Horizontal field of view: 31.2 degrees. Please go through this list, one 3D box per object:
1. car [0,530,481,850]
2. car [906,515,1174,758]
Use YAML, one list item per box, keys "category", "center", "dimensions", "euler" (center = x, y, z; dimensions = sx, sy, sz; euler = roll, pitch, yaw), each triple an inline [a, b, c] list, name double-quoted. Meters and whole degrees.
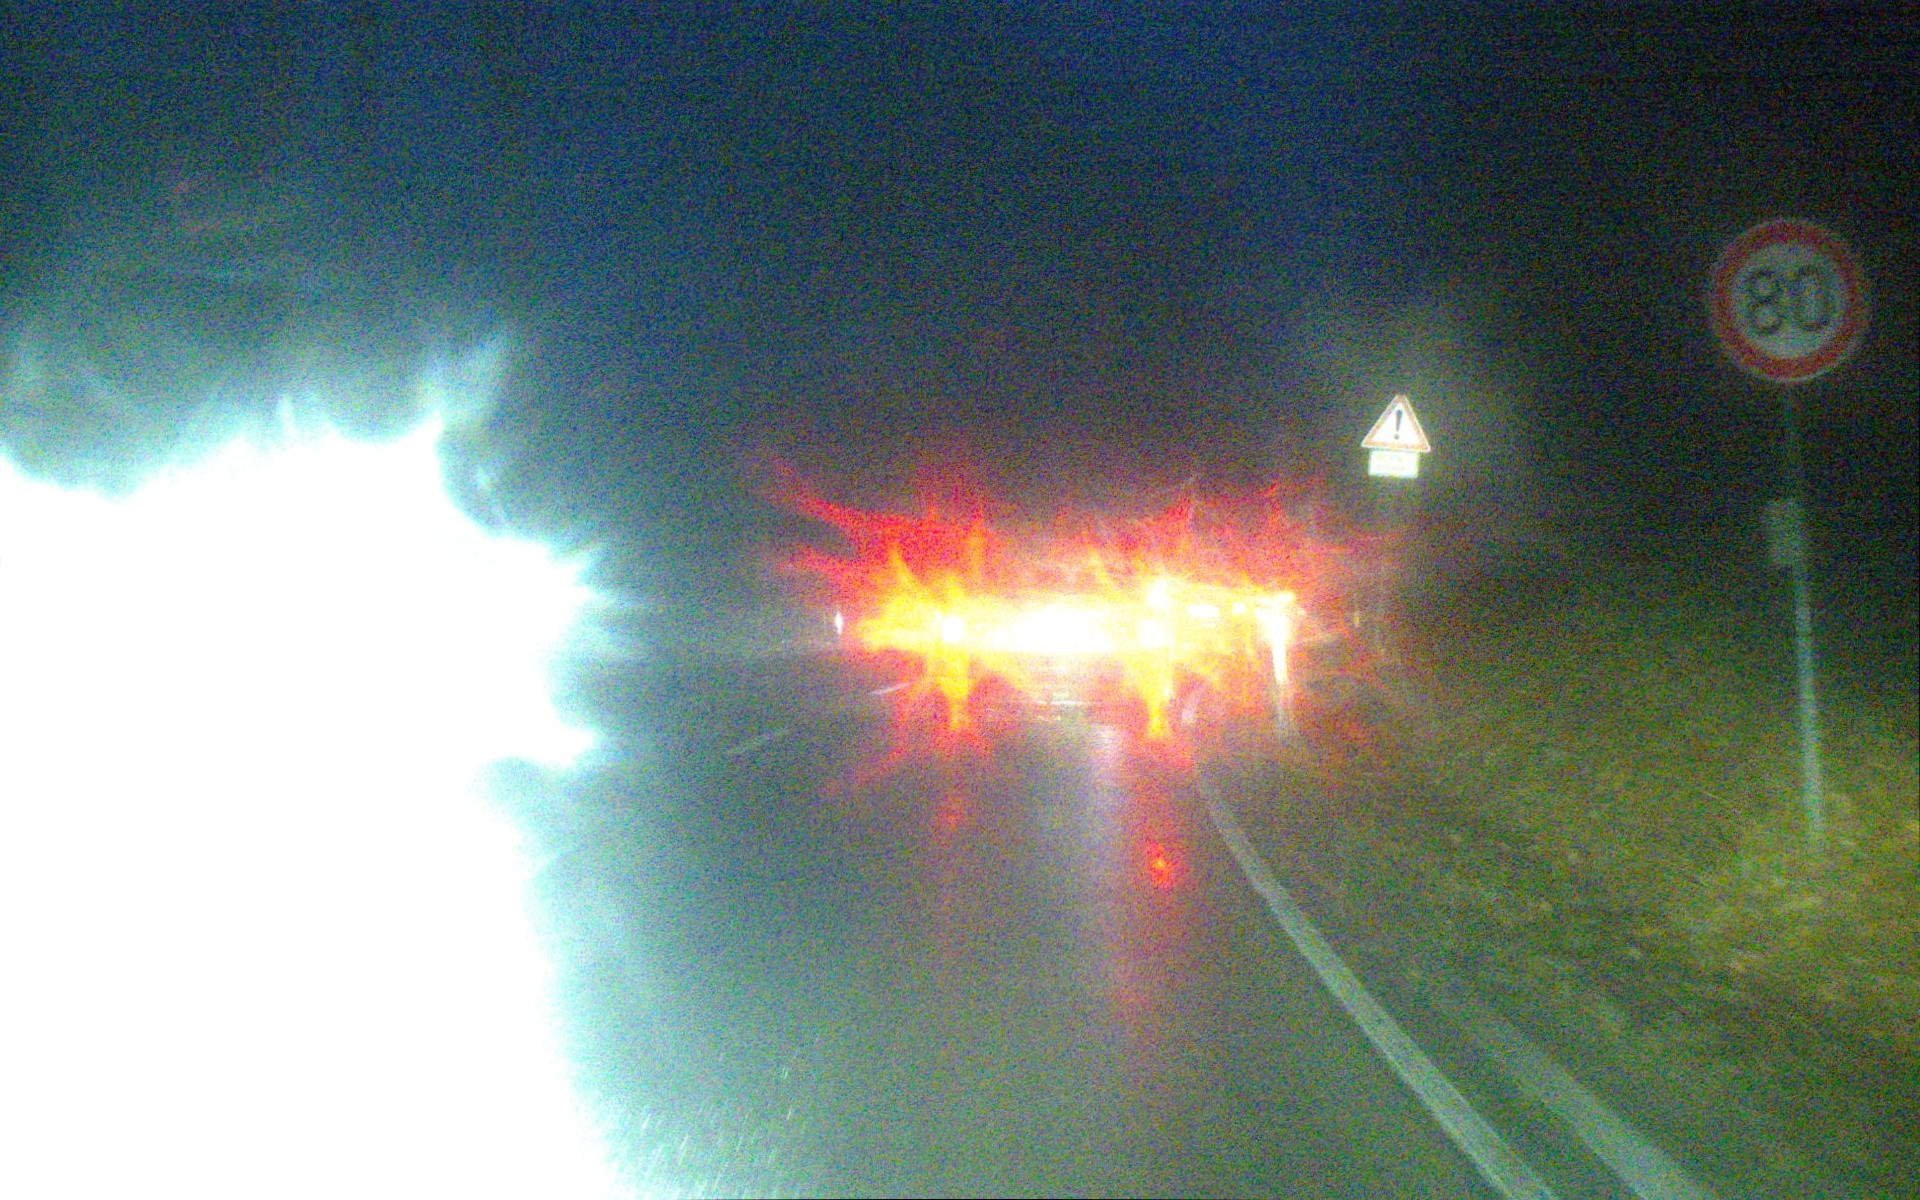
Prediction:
- category: "car"
  center: [-3.811, 0.395, 18.783]
  dimensions: [1.765, 1.537, 4.148]
  euler: [0, 1, 1]
- category: "car"
  center: [0.612, 0.253, 28.248]
  dimensions: [1.993, 1.801, 3.917]
  euler: [-2, 1, 0]
